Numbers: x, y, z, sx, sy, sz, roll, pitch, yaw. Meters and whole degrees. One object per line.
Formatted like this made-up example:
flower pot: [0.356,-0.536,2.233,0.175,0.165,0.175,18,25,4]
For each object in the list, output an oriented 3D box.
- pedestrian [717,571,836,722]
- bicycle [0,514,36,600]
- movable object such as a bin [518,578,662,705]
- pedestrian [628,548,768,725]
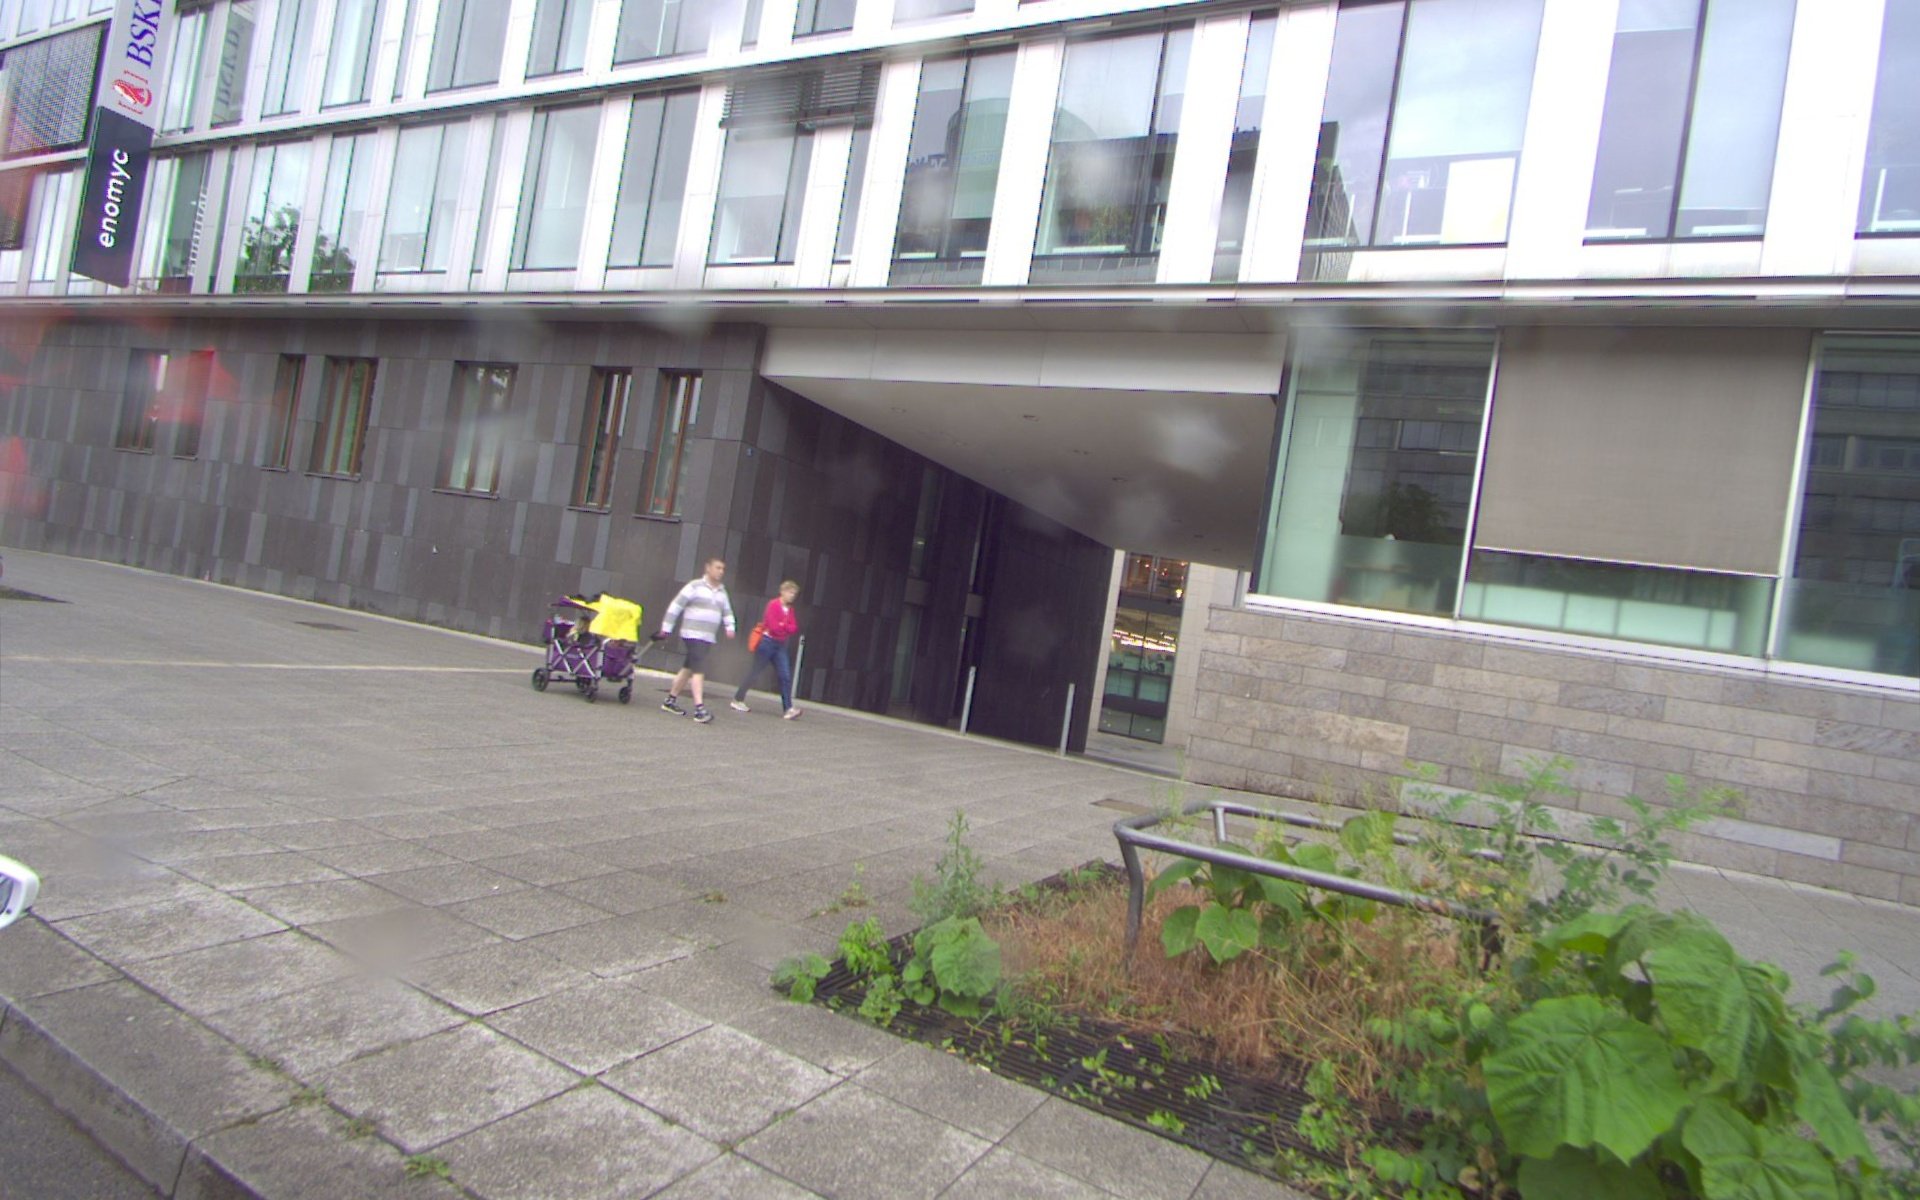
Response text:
pedestrian: [-2.300,0.568,12.618,1.080,1.712,0.719,7,1,26]
bicycle: [-13.096,-0.686,12.267,0.665,1.069,2.543,7,-2,27]
movable object such as a bin: [-4.369,0.480,11.871,1.419,1.280,0.732,7,1,29]
pedestrian: [-2.961,0.407,11.408,1.028,1.814,0.901,7,1,26]
